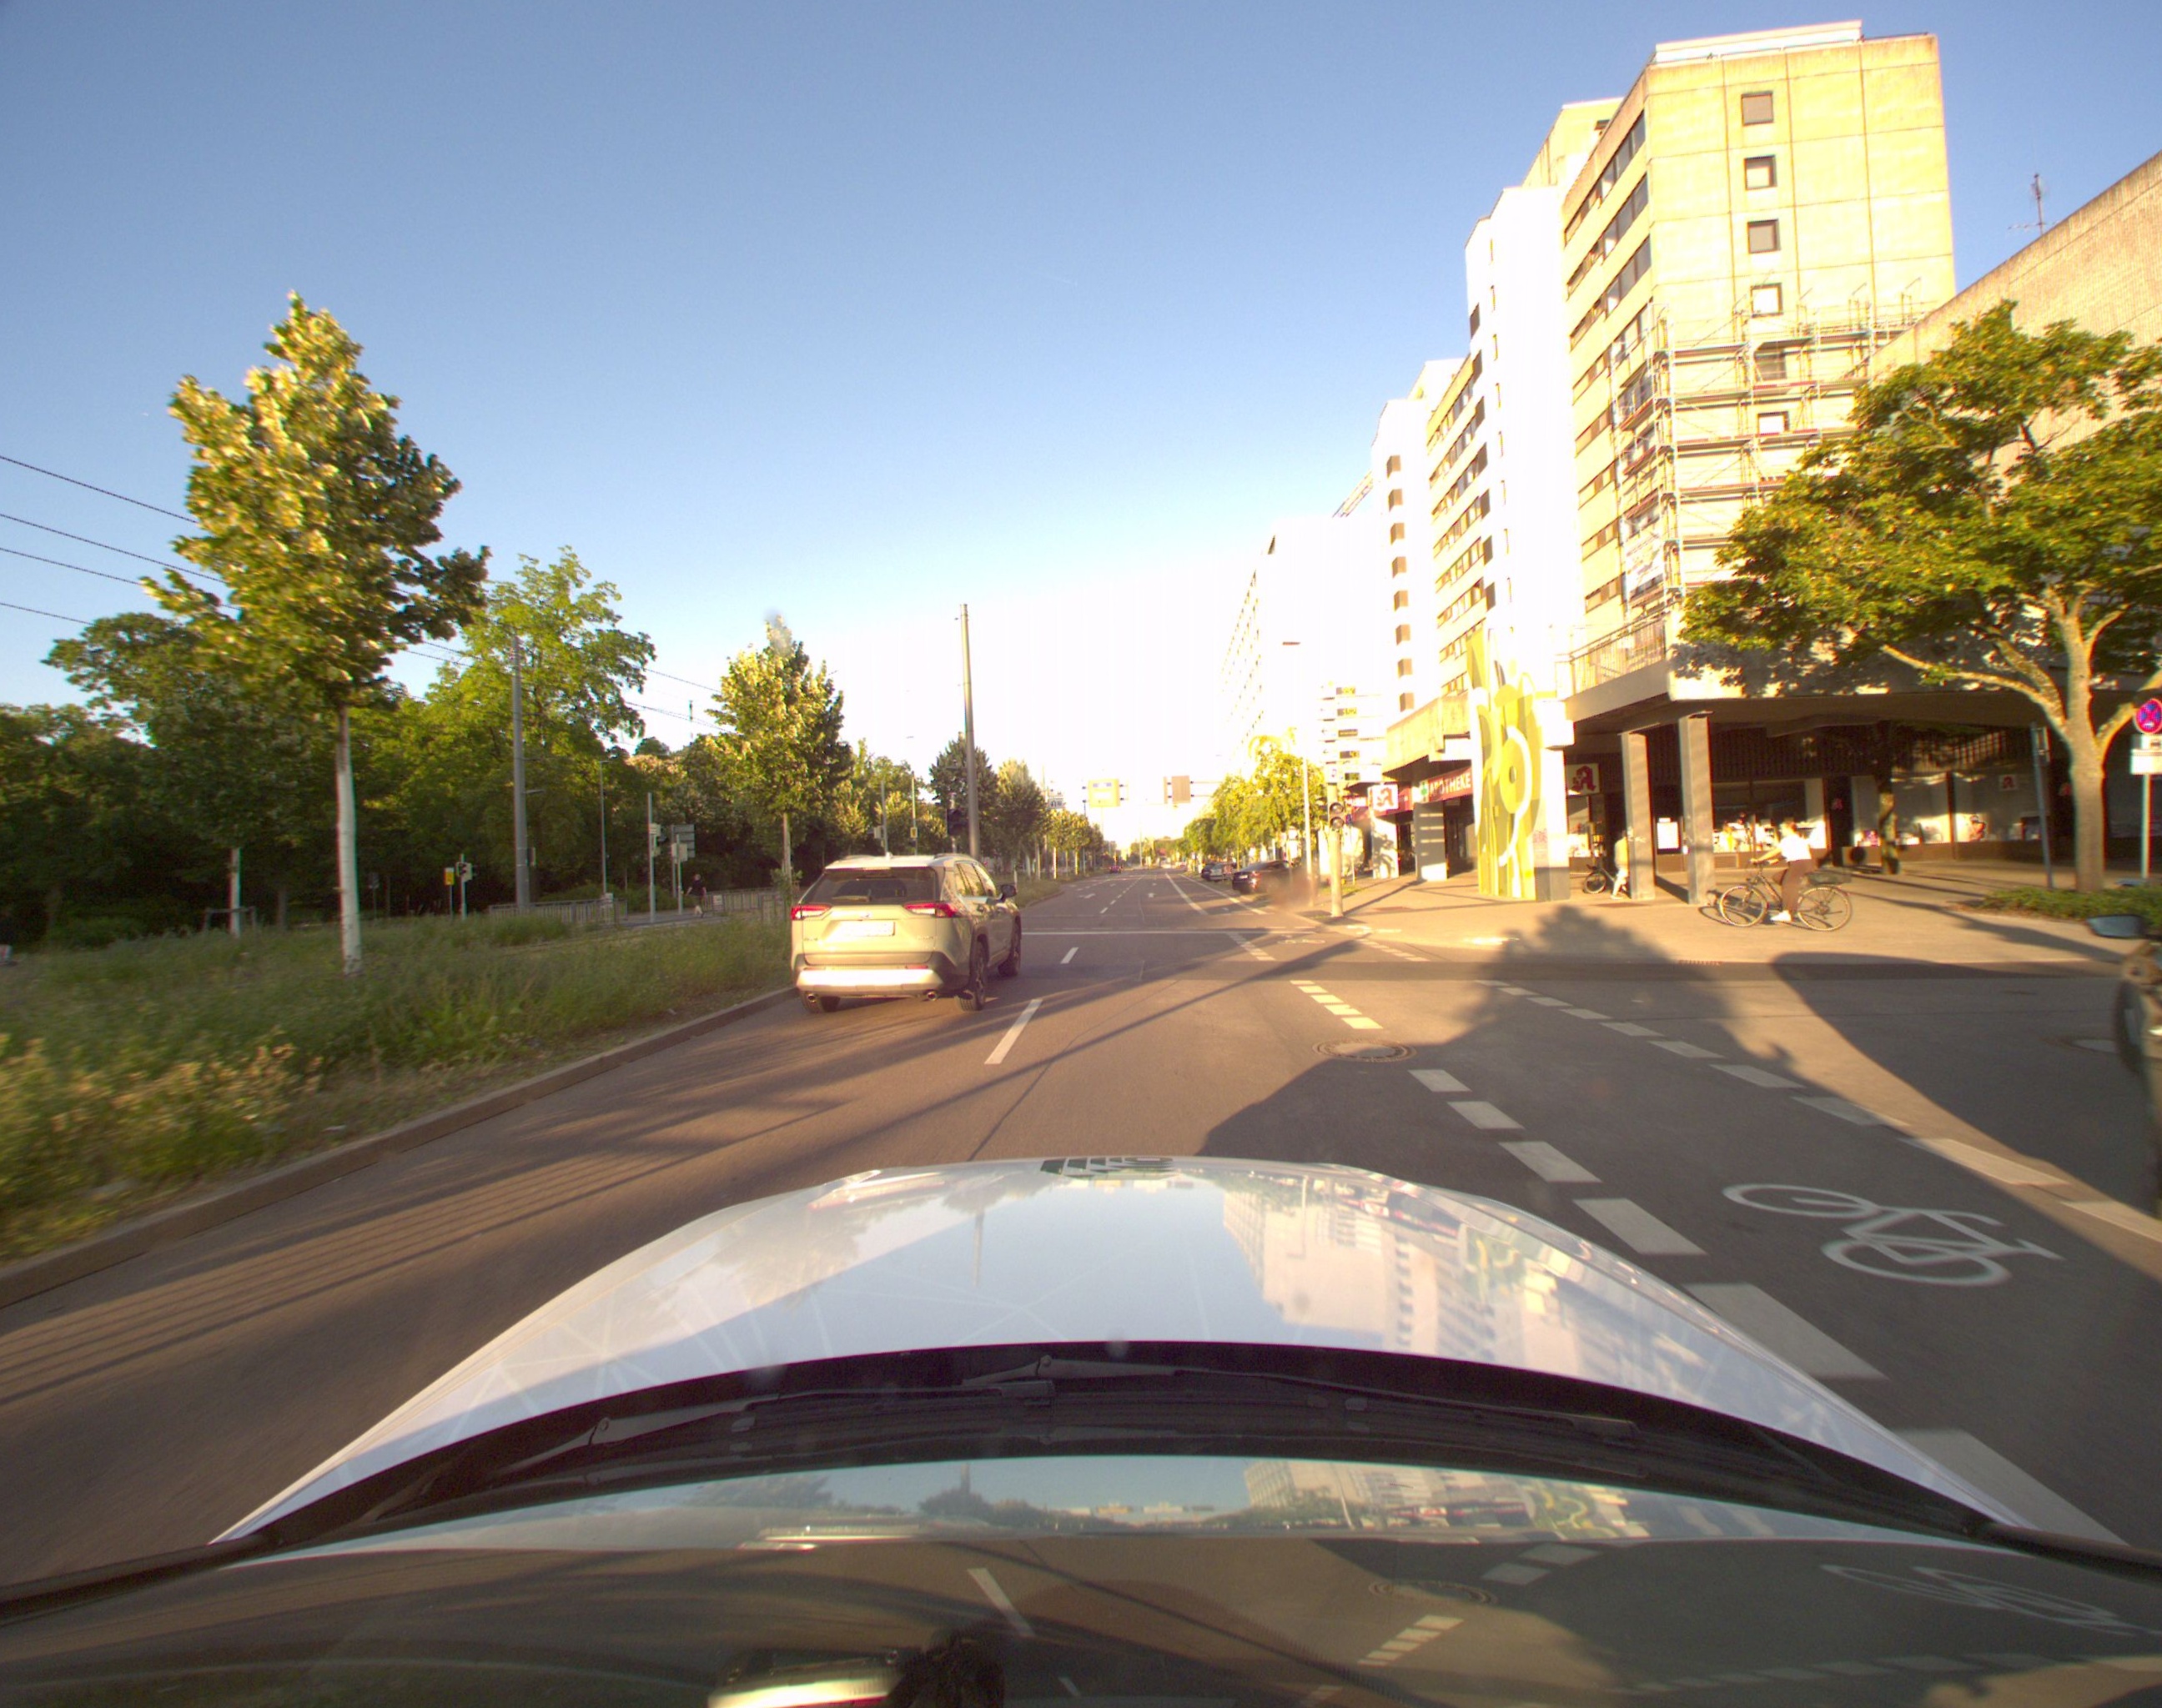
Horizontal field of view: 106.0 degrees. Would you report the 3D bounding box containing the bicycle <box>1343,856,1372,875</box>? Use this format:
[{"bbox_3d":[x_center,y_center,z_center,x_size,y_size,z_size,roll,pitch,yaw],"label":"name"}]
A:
[{"bbox_3d":[16.771,0.679,49.414,1.565,1.048,0.433,-5,-1,3],"label":"bicycle"}]

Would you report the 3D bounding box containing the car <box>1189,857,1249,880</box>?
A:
[{"bbox_3d":[11.242,1.192,66.261,4.689,1.508,1.918,-4,-1,-35],"label":"car"}]

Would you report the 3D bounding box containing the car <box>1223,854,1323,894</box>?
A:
[{"bbox_3d":[8.837,0.911,37.299,4.628,1.453,1.794,-4,-1,-36],"label":"car"}]

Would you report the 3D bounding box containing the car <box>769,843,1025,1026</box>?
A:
[{"bbox_3d":[-1.874,0.774,9.760,1.826,1.672,4.286,-1,-1,3],"label":"car"}]

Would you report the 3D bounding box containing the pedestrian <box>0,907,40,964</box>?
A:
[{"bbox_3d":[-36.930,2.794,28.159,1.026,1.885,0.940,-1,-1,27],"label":"pedestrian"}]

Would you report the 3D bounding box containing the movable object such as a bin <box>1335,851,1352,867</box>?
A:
[{"bbox_3d":[22.848,0.428,70.906,1.176,1.313,1.089,-3,-1,3],"label":"movable object such as a bin"}]

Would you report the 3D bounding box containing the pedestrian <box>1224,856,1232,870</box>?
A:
[{"bbox_3d":[19.741,1.235,109.250,0.738,1.849,0.944,-5,-2,14],"label":"pedestrian"}]

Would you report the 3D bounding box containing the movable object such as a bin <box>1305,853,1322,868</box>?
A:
[{"bbox_3d":[20.248,0.566,70.962,1.176,1.299,1.306,-3,-1,3],"label":"movable object such as a bin"}]

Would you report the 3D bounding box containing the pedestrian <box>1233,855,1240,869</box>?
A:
[{"bbox_3d":[20.884,1.123,109.256,0.751,1.824,0.944,-5,-2,14],"label":"pedestrian"}]

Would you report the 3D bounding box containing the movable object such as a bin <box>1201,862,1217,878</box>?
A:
[{"bbox_3d":[11.137,1.385,70.835,1.081,1.301,1.360,-5,-1,-2],"label":"movable object such as a bin"}]

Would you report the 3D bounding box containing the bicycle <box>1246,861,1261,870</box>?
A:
[{"bbox_3d":[21.068,1.408,99.452,1.693,0.986,0.551,-4,-1,1],"label":"bicycle"}]

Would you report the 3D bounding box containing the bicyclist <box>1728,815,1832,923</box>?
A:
[{"bbox_3d":[11.551,0.243,13.482,0.821,1.692,0.953,-3,-1,-23],"label":"bicyclist"}]

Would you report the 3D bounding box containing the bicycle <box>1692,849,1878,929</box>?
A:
[{"bbox_3d":[11.564,0.574,13.492,0.821,1.173,2.131,-3,-1,-23],"label":"bicycle"}]

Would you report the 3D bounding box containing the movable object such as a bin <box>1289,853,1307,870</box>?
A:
[{"bbox_3d":[18.876,0.632,70.952,1.176,1.323,1.268,-5,-1,3],"label":"movable object such as a bin"}]

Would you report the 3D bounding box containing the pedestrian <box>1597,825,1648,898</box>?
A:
[{"bbox_3d":[13.679,0.185,20.579,0.725,1.750,0.694,-5,1,-19],"label":"pedestrian"}]

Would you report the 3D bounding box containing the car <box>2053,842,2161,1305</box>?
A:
[{"bbox_3d":[5.686,0.665,3.523,4.647,1.469,1.785,-1,-1,-41],"label":"car"}]

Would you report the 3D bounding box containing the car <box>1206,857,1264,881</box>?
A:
[{"bbox_3d":[11.192,1.084,59.233,4.007,1.416,1.733,-4,-1,-33],"label":"car"}]

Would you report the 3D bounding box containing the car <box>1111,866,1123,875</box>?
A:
[{"bbox_3d":[5.690,2.615,127.351,1.666,1.352,4.006,-1,-1,5],"label":"car"}]

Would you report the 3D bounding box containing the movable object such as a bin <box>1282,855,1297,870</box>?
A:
[{"bbox_3d":[19.309,0.773,75.424,1.100,1.330,1.284,-4,-1,4],"label":"movable object such as a bin"}]

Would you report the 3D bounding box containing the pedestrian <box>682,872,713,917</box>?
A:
[{"bbox_3d":[-14.326,1.514,30.424,0.663,1.607,0.682,0,4,27],"label":"pedestrian"}]

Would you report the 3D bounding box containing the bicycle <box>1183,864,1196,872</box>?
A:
[{"bbox_3d":[16.849,2.167,126.746,1.787,1.193,0.567,-5,-1,0],"label":"bicycle"}]

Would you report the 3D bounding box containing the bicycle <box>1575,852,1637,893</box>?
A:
[{"bbox_3d":[14.177,0.495,22.023,0.458,1.047,1.325,-3,0,-25],"label":"bicycle"}]
